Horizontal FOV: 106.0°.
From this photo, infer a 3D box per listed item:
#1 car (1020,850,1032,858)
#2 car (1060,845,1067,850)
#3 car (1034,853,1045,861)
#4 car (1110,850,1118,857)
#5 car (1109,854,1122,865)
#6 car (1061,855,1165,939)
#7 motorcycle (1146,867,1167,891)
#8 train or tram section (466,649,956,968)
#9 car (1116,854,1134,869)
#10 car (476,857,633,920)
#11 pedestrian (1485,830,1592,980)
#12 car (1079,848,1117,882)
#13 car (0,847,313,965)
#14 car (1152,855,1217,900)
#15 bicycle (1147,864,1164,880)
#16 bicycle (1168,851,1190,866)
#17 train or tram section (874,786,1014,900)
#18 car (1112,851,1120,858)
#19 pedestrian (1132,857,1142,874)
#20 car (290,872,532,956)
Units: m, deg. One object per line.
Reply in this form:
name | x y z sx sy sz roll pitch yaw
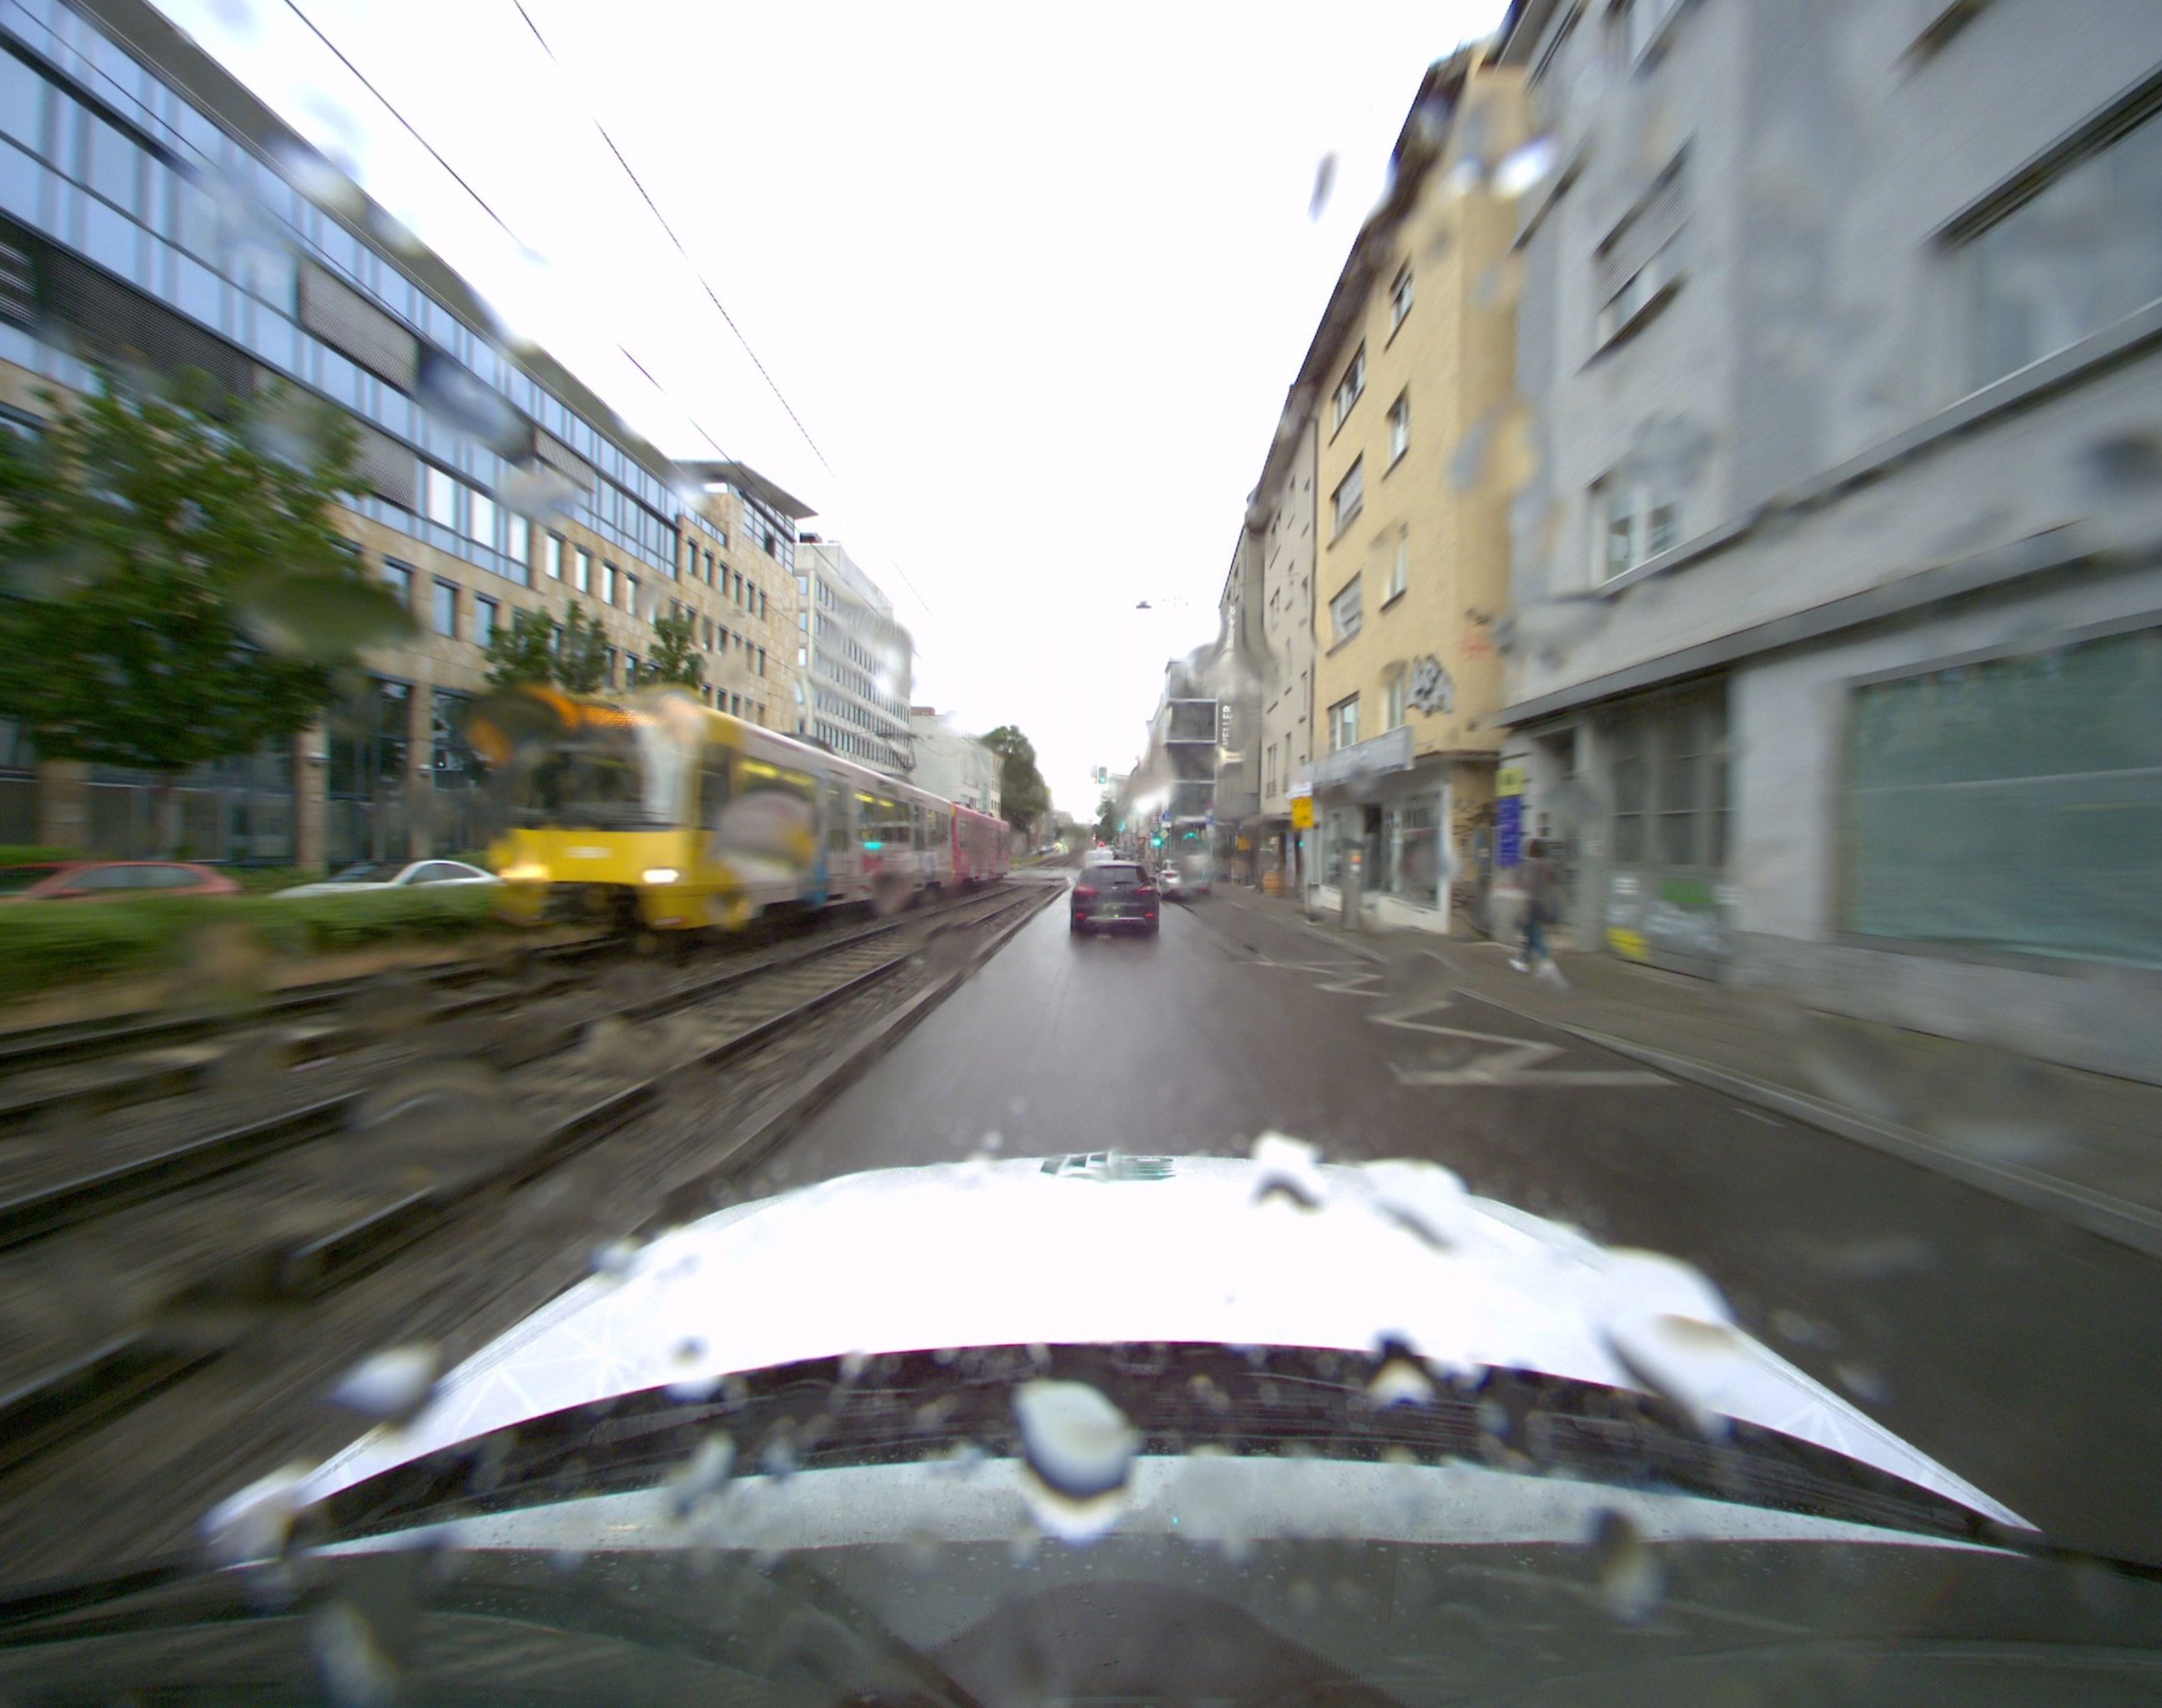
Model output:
car | -9.997 0.041 147.110 1.737 1.468 4.221 0 0 1
car | -5.371 -1.948 248.686 1.986 1.519 4.445 1 -1 2
car | -9.107 0.623 179.586 1.986 1.519 4.436 1 0 1
car | 7.763 -0.206 192.524 1.637 1.515 4.039 1 1 1
car | 5.266 0.872 124.658 1.986 1.594 4.574 0 0 2
car | 0.685 0.828 17.658 1.986 1.594 4.273 0 0 2
motorcycle | 4.694 1.540 50.376 1.137 1.461 0.676 0 0 -35
train or tram section | -6.113 -0.472 19.543 2.891 4.050 18.415 0 -1 1
car | 4.999 0.862 93.043 1.986 1.594 4.273 0 0 2
car | -14.225 0.872 22.309 1.683 1.486 4.000 1 1 0
pedestrian | 5.334 0.576 9.534 0.788 1.659 0.721 -2 -1 1
car | 1.015 0.599 46.247 1.985 1.816 4.274 0 0 3
car | -14.451 0.670 12.233 1.643 1.498 4.294 0 0 2
car | 3.847 0.836 30.935 2.016 1.594 4.623 0 0 2
bicycle | 6.125 1.465 66.880 0.499 1.259 1.941 1 0 -23
bicycle | 7.816 0.362 65.206 0.580 1.157 1.935 1 0 -35
train or tram section | -5.621 -0.286 38.217 2.891 4.050 18.772 0 -1 1
car | 8.051 0.092 187.563 1.733 1.489 4.001 1 1 1
pedestrian | 5.110 1.065 74.844 0.662 1.582 0.774 0 0 -21
car | -14.140 1.189 17.562 1.643 1.498 4.194 0 0 2
